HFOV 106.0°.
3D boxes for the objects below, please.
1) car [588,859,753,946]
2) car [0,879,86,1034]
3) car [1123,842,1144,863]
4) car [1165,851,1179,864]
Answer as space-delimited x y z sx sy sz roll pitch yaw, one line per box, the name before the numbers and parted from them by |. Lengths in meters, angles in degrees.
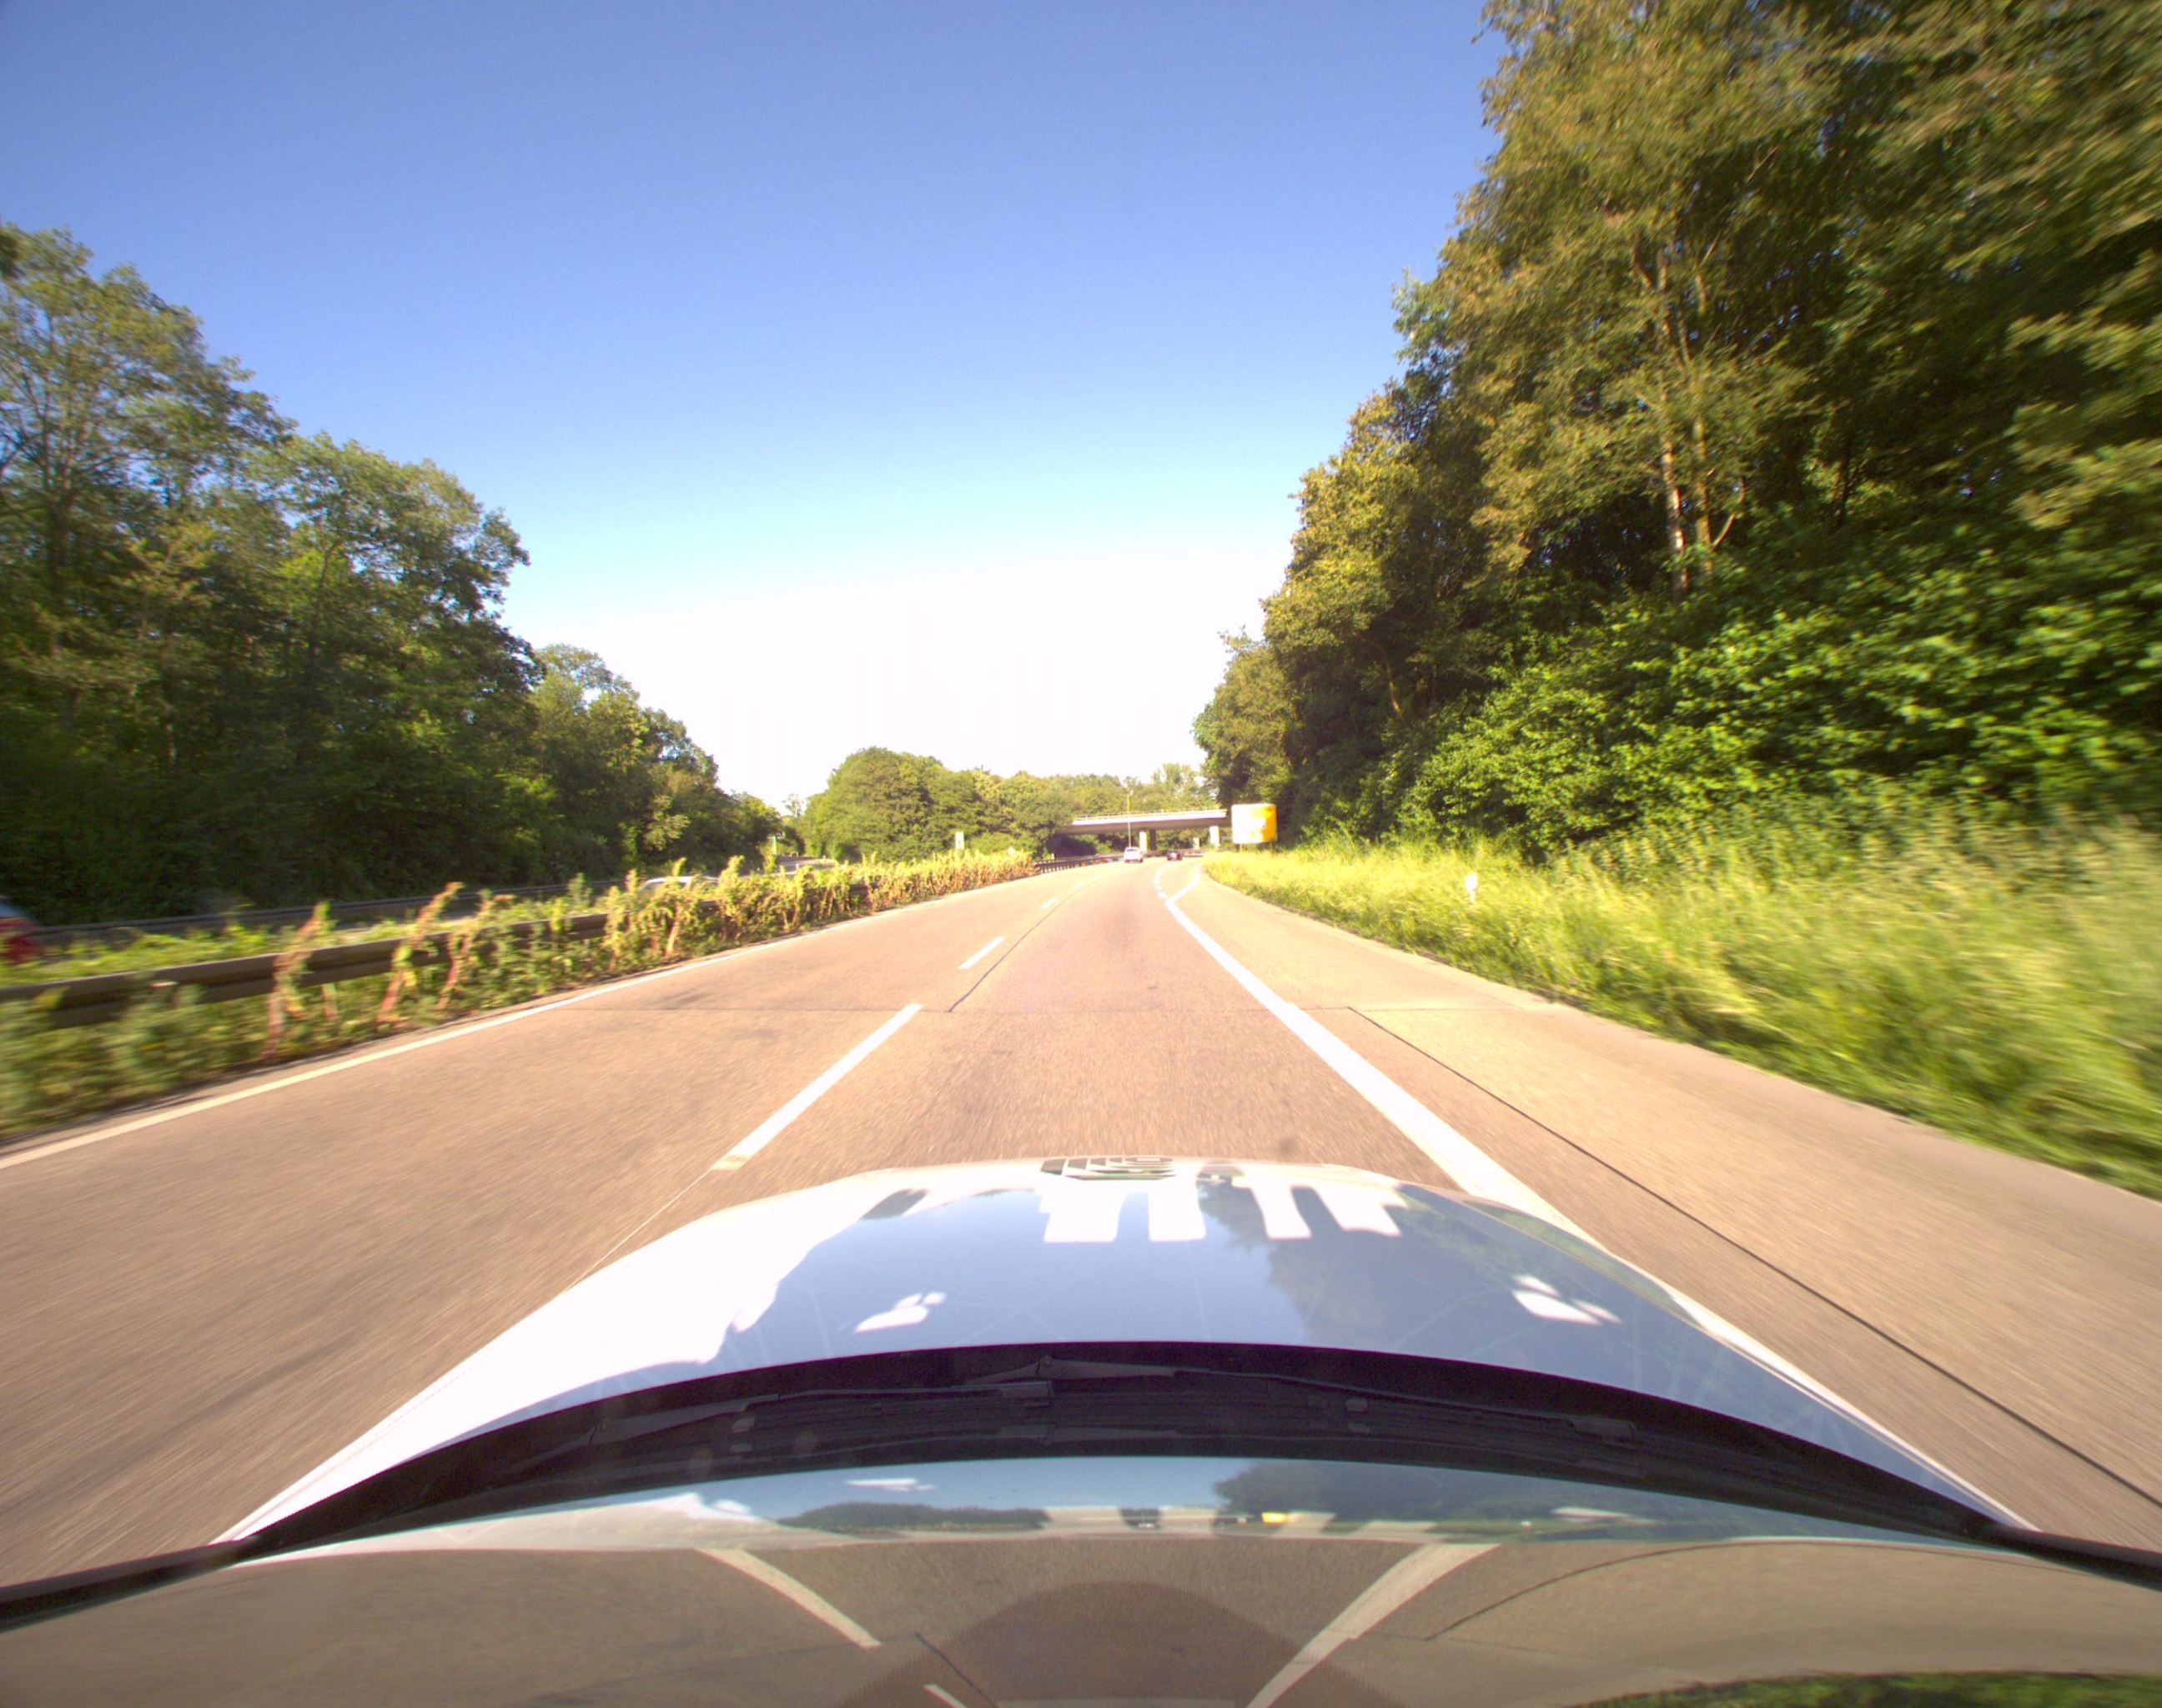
car | -11.100 1.221 22.465 2.077 2.013 4.536 -2 0 2
car | -15.199 1.339 9.165 2.039 2.014 4.763 0 -1 1
car | 6.088 -0.184 94.602 1.981 2.277 4.011 -2 0 9
car | 12.338 0.506 110.324 1.731 1.662 3.950 -2 0 4
